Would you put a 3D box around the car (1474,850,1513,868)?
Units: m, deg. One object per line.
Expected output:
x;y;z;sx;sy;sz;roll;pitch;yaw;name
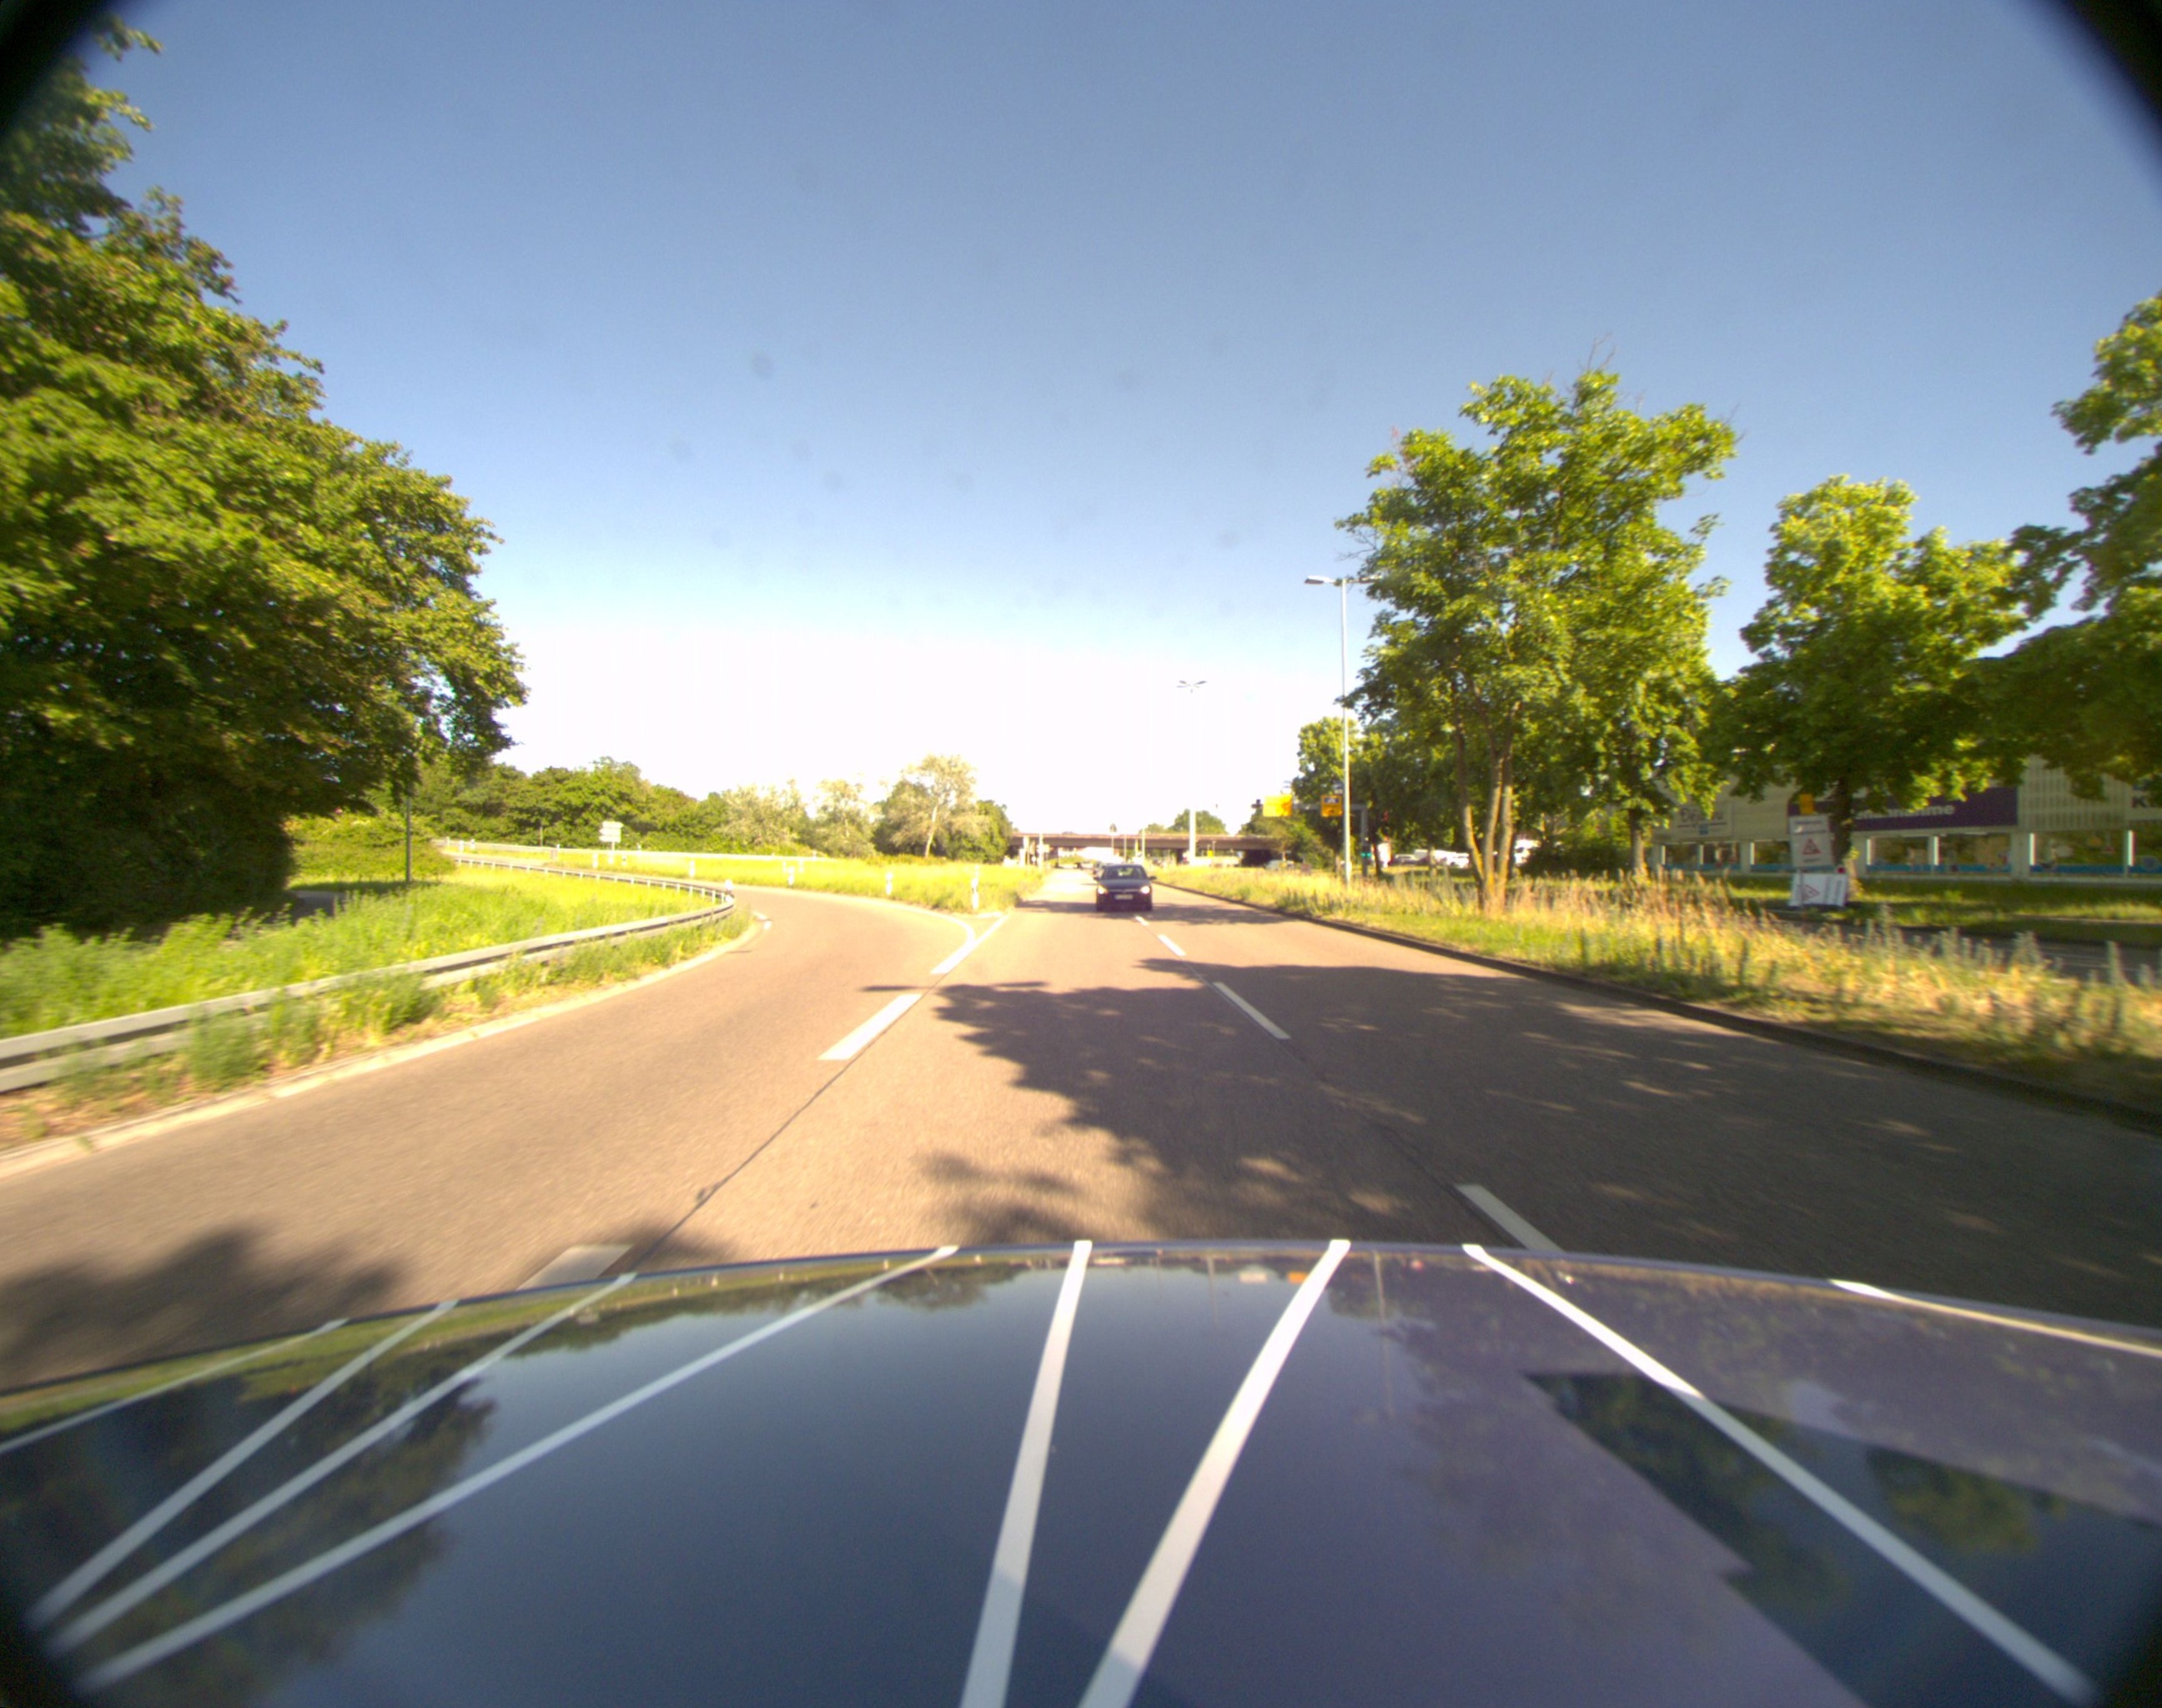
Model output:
45.817;0.531;84.450;1.783;1.945;5.131;0;0;3;car

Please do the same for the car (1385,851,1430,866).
35.891;0.494;83.559;4.128;1.542;1.947;0;0;2;car

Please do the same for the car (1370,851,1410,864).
37.024;0.458;91.244;4.125;1.542;1.897;0;0;10;car

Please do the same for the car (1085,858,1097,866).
1.744;1.406;134.038;1.827;1.528;4.042;0;0;-1;car

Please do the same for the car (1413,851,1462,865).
36.601;0.434;78.169;4.129;1.380;1.946;0;0;-2;car

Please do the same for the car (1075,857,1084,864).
-0.307;1.457;165.454;1.627;1.428;3.279;0;0;2;car

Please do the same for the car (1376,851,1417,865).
36.859;0.446;88.867;4.127;1.542;1.819;0;0;4;car

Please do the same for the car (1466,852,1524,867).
37.167;0.493;68.251;4.130;1.380;1.946;1;0;-4;car

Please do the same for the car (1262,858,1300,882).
15.302;1.214;58.347;1.711;1.736;4.165;0;0;-2;car

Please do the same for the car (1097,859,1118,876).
2.549;1.294;72.768;1.827;1.528;4.042;0;0;-1;car

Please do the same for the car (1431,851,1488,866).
36.619;0.456;73.583;4.631;1.380;1.946;0;0;0;car

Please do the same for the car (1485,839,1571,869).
37.028;-0.010;63.039;5.894;2.419;2.206;1;0;-4;car

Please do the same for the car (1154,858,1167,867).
14.675;1.605;140.914;1.881;1.533;4.572;2;0;0;car

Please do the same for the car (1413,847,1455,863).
48.951;0.199;105.447;1.899;2.139;5.034;0;0;-33;car

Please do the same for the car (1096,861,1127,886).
1.931;1.245;49.767;1.827;1.528;4.042;0;0;-1;car

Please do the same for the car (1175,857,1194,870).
14.451;1.277;105.994;1.947;1.687;4.629;2;-1;-1;car

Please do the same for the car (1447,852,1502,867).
36.635;0.486;70.798;4.130;1.380;1.946;1;0;-4;car

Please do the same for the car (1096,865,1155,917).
1.492;1.119;24.351;1.706;1.446;3.961;-1;0;5;car

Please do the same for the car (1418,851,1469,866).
36.149;0.456;75.866;4.130;1.380;1.946;1;0;-4;car
